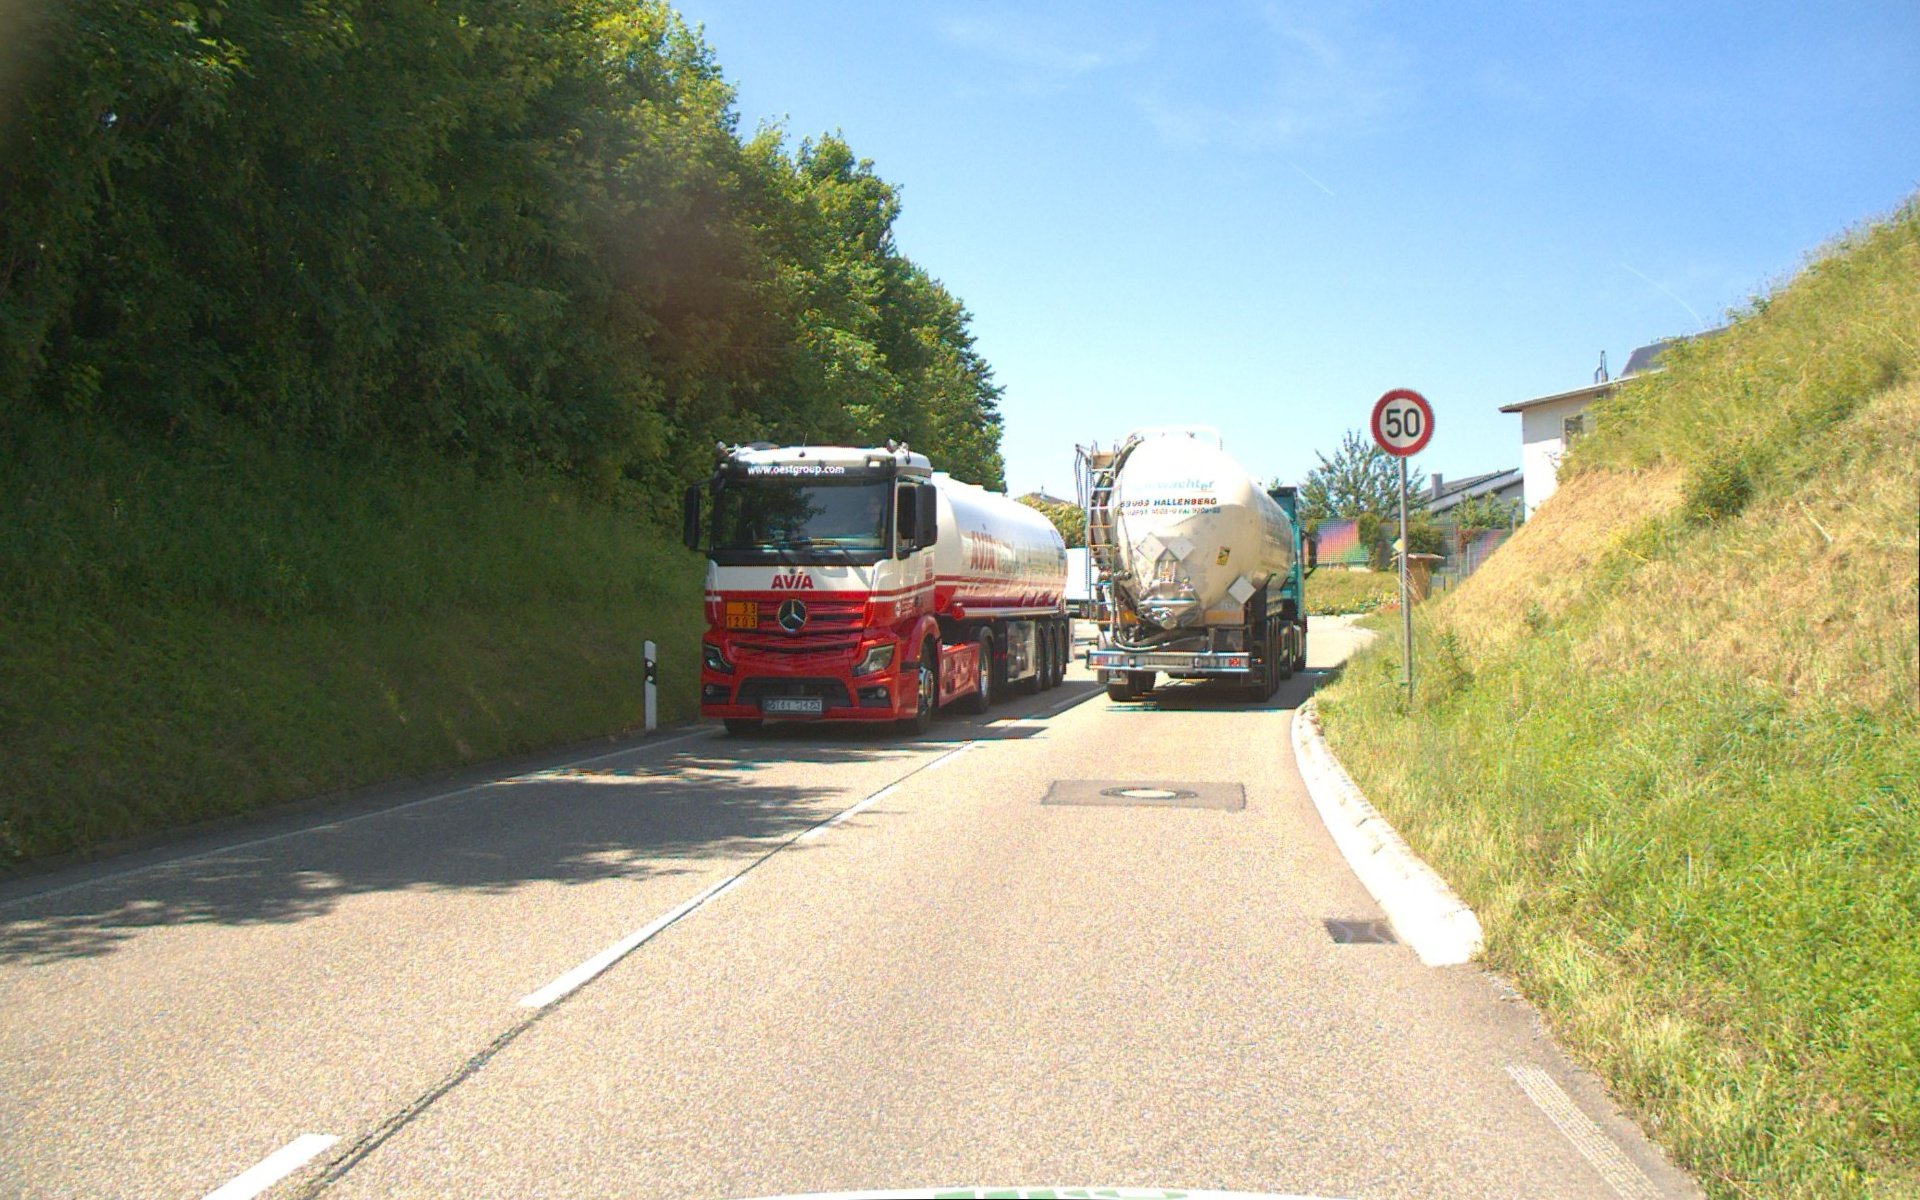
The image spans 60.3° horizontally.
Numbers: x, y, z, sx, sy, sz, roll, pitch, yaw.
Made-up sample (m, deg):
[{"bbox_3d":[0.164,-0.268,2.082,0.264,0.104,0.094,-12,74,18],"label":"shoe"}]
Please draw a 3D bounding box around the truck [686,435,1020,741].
[{"bbox_3d":[-1.050,-0.106,21.198,2.570,3.226,7.074,0,0,11],"label":"truck"}]

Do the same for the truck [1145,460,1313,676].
[{"bbox_3d":[5.774,-0.545,34.527,2.669,3.999,7.268,-1,-1,15],"label":"truck"}]

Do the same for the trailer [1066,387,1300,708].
[{"bbox_3d":[4.176,-0.689,28.098,2.604,4.262,11.913,-1,0,14],"label":"trailer"}]

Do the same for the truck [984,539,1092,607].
[{"bbox_3d":[4.761,-1.680,103.555,3.152,4.002,8.182,1,0,-26],"label":"truck"}]

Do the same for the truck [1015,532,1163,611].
[{"bbox_3d":[7.448,-1.680,98.200,3.151,4.385,11.700,2,0,-26],"label":"truck"}]

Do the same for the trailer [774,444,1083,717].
[{"bbox_3d":[-0.022,-0.217,26.521,2.577,3.432,11.152,0,0,11],"label":"trailer"}]
